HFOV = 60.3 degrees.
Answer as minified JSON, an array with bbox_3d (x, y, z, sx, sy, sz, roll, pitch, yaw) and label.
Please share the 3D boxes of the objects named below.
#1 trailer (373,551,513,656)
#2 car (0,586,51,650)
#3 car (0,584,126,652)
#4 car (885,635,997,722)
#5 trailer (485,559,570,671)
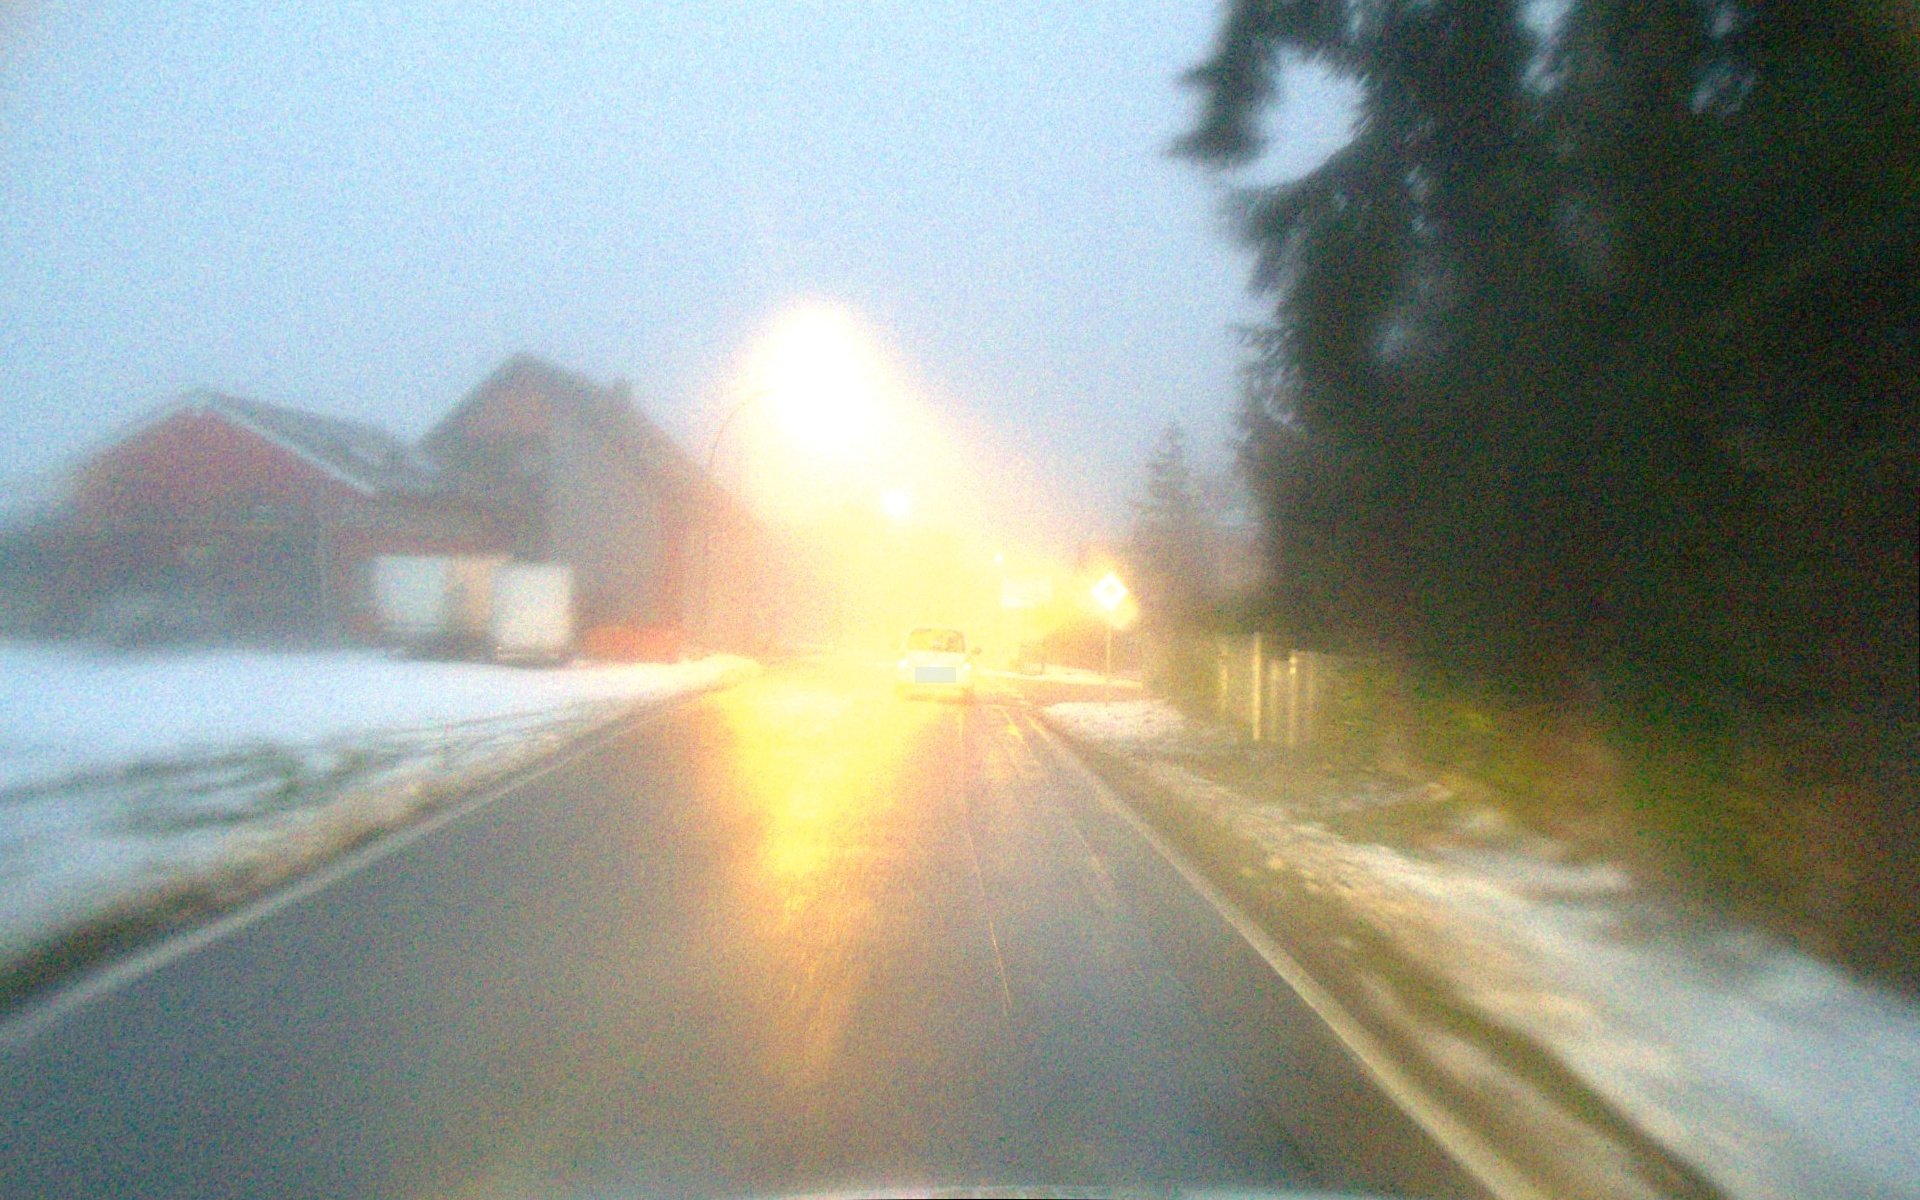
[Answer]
[{"bbox_3d":[-13.193,0.086,42.453,1.951,2.533,4.013,-1,0,7],"label":"trailer"},{"bbox_3d":[-26.231,0.486,43.728,1.951,1.691,4.002,-1,0,5],"label":"car"},{"bbox_3d":[-24.091,0.461,43.602,1.951,1.691,4.002,-1,0,4],"label":"car"},{"bbox_3d":[-0.321,1.521,33.190,1.952,1.534,4.002,-1,0,3],"label":"car"},{"bbox_3d":[-10.710,0.358,40.829,1.665,2.651,3.423,0,0,-21],"label":"trailer"}]
